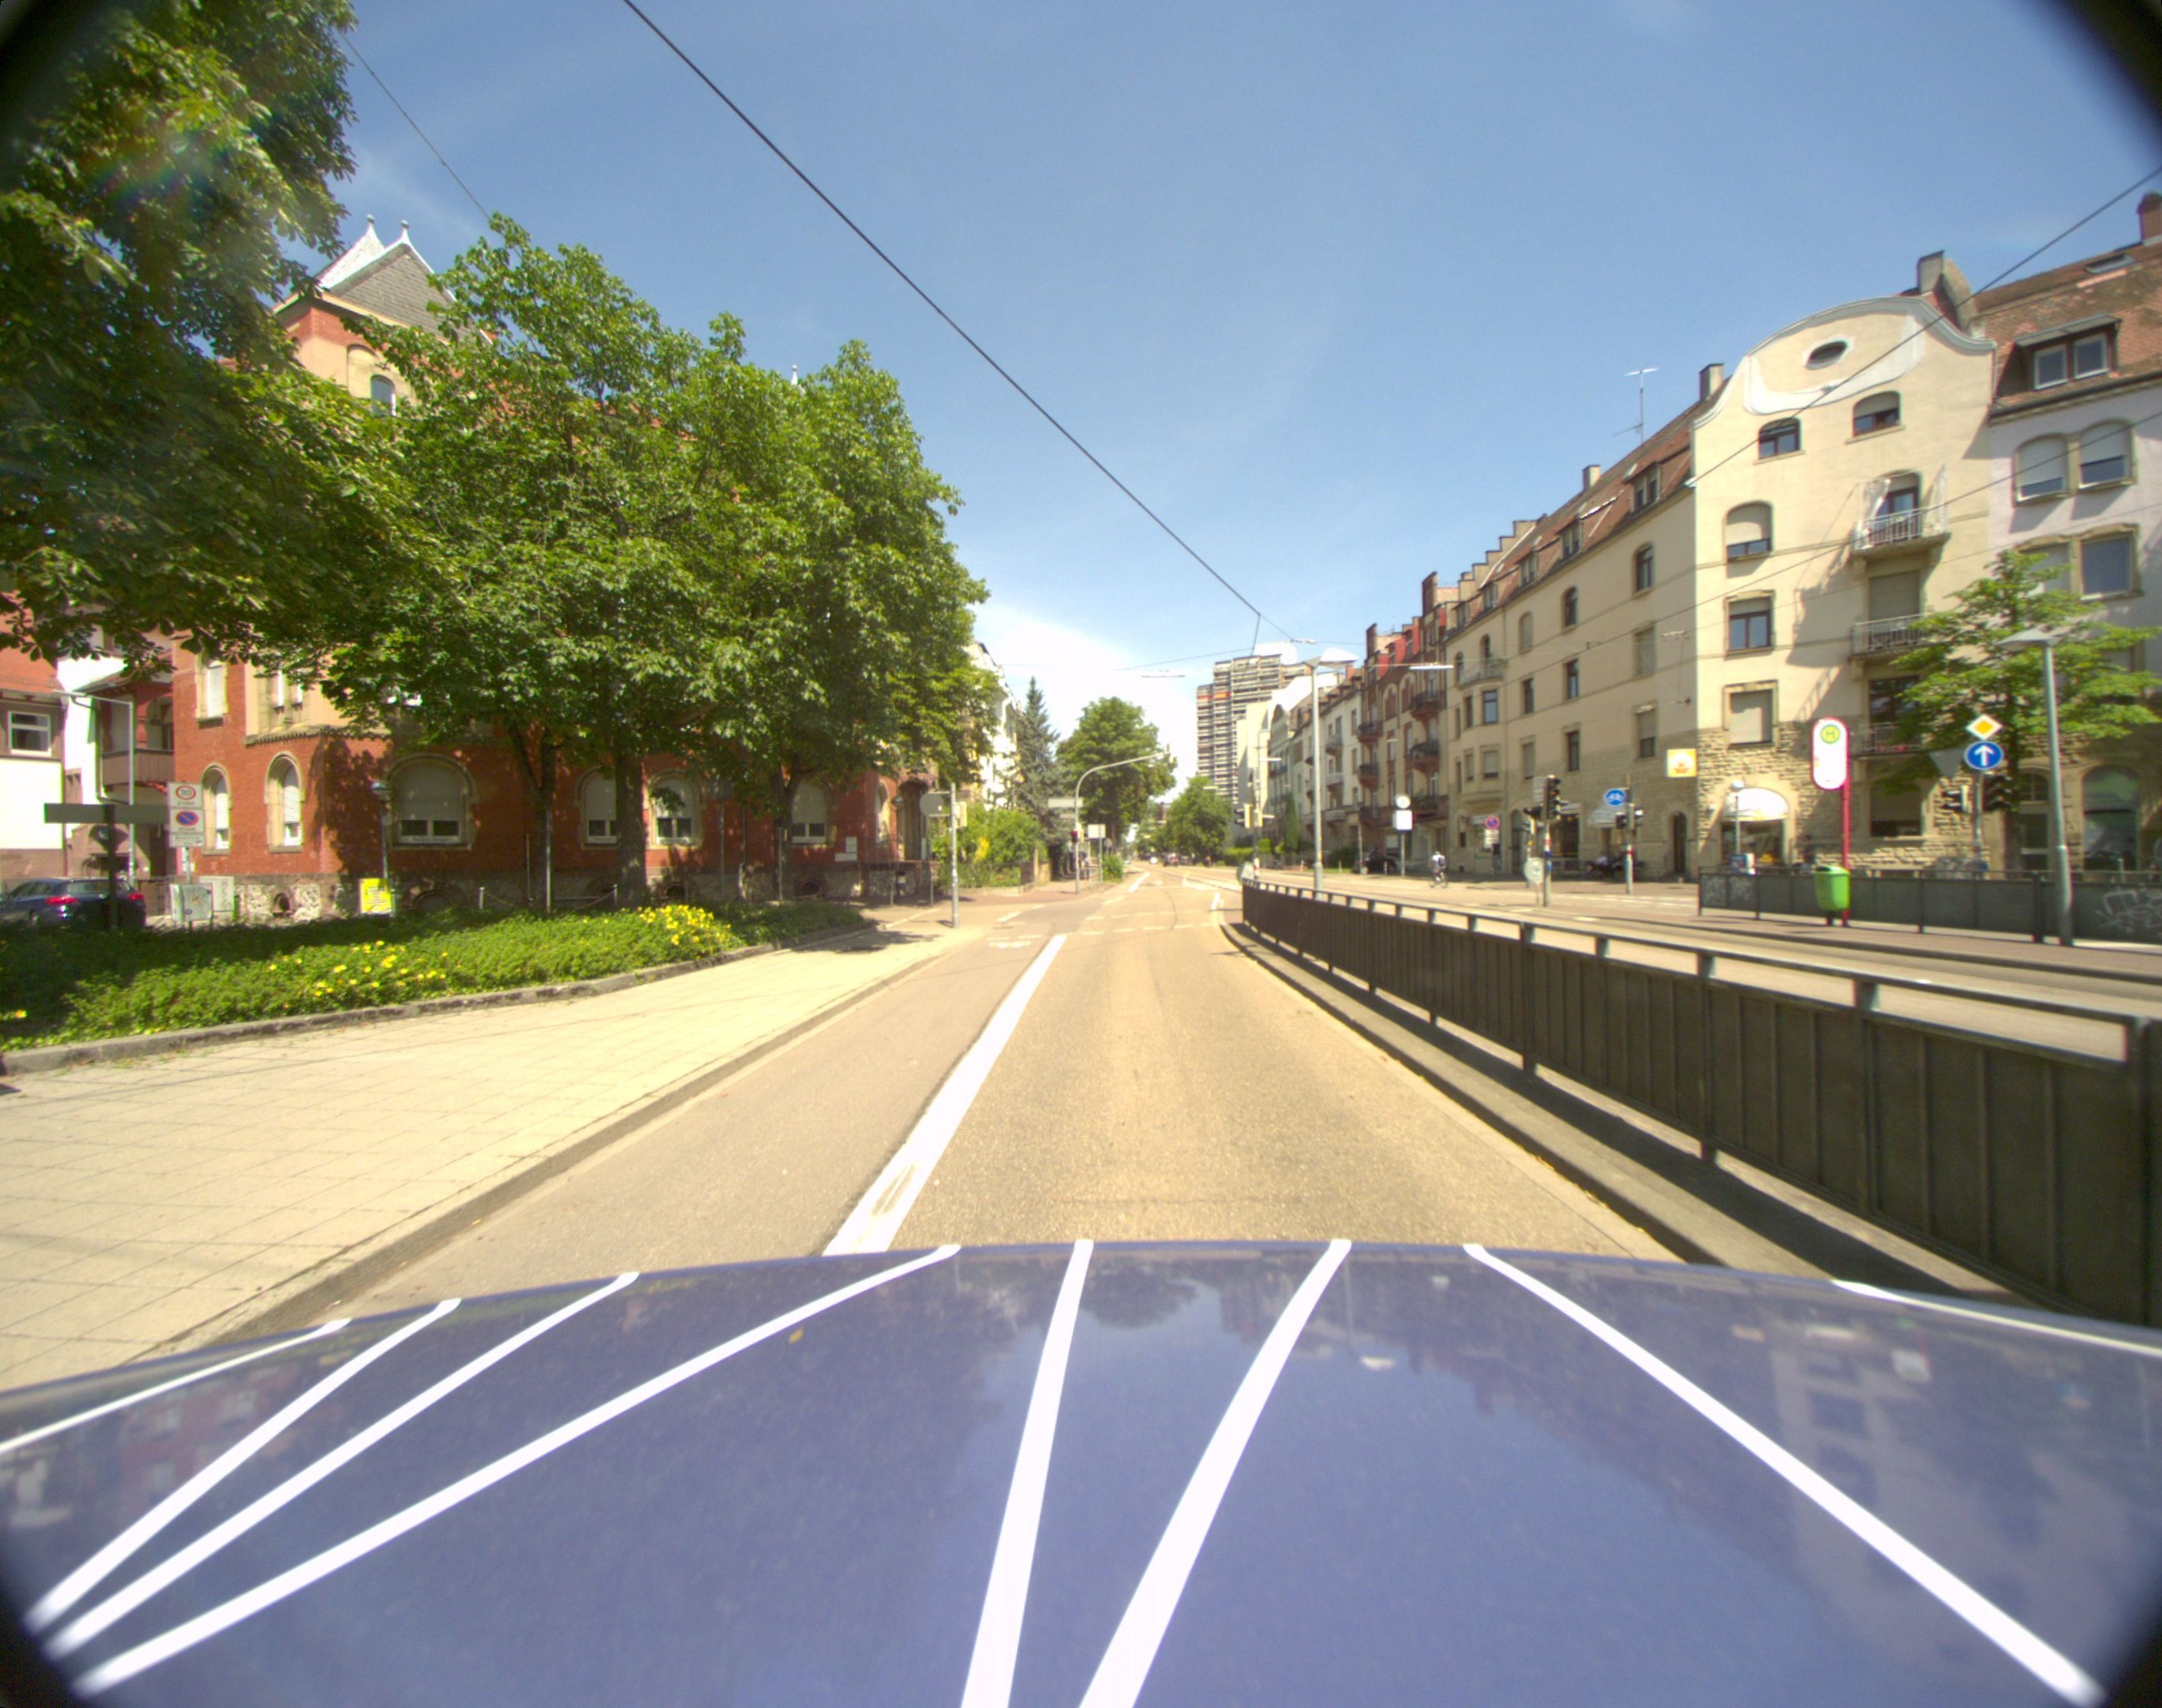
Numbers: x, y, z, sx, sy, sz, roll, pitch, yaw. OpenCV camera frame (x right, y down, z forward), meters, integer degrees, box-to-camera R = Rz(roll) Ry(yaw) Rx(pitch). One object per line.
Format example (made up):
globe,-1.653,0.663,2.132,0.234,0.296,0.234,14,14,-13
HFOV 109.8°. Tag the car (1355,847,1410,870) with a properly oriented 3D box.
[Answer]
car,21.564,0.326,54.474,3.361,1.463,1.530,-2,0,6

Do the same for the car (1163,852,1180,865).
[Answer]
car,13.912,0.713,117.150,1.849,1.926,4.820,0,1,-3

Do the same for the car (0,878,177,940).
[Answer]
car,-27.140,1.454,20.585,4.748,1.433,1.908,-2,1,21

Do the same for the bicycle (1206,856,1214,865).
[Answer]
bicycle,16.163,0.769,95.387,0.645,1.068,2.186,-1,0,1

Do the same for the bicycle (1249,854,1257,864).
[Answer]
bicycle,19.265,0.531,85.262,0.493,1.090,2.047,-2,0,1

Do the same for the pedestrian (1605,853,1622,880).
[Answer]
pedestrian,22.928,0.524,32.701,0.406,1.142,0.405,-2,1,-2

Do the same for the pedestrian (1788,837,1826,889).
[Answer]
pedestrian,24.691,0.300,25.849,0.545,1.721,0.728,-2,1,-1

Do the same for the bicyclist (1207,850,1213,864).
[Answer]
bicyclist,16.171,0.381,95.301,0.611,1.653,0.579,-1,1,1

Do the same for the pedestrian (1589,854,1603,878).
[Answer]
pedestrian,22.856,0.526,33.723,0.355,1.083,0.405,-2,1,-2

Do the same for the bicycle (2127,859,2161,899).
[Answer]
bicycle,27.846,0.636,19.869,0.289,0.968,1.676,-1,1,44

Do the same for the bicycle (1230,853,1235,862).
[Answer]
bicycle,19.910,0.447,99.898,0.340,1.062,1.728,-2,1,1

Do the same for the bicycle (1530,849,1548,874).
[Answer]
bicycle,23.422,0.382,38.870,0.454,1.218,2.082,-1,1,21

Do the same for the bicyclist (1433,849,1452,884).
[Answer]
bicyclist,16.889,0.578,35.511,0.609,1.565,0.585,-2,1,2

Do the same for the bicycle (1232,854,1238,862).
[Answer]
bicycle,19.840,0.485,97.919,0.340,1.062,1.728,-2,1,1

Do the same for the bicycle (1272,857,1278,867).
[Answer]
bicycle,18.745,0.779,73.462,0.253,0.911,1.614,-2,0,1

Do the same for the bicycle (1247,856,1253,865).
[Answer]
bicycle,19.532,0.710,87.768,0.290,1.040,1.900,-2,1,1

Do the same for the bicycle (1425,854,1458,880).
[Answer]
bicycle,16.899,0.594,35.679,0.629,1.150,1.978,-2,0,1

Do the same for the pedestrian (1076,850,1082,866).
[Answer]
pedestrian,-0.204,0.405,76.728,0.547,1.683,0.755,-1,1,1

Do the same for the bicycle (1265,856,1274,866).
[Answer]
bicycle,19.206,0.689,77.615,0.463,0.943,1.954,-2,0,1

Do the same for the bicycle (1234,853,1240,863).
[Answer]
bicycle,19.679,0.472,95.695,0.340,1.157,1.933,-2,1,1
